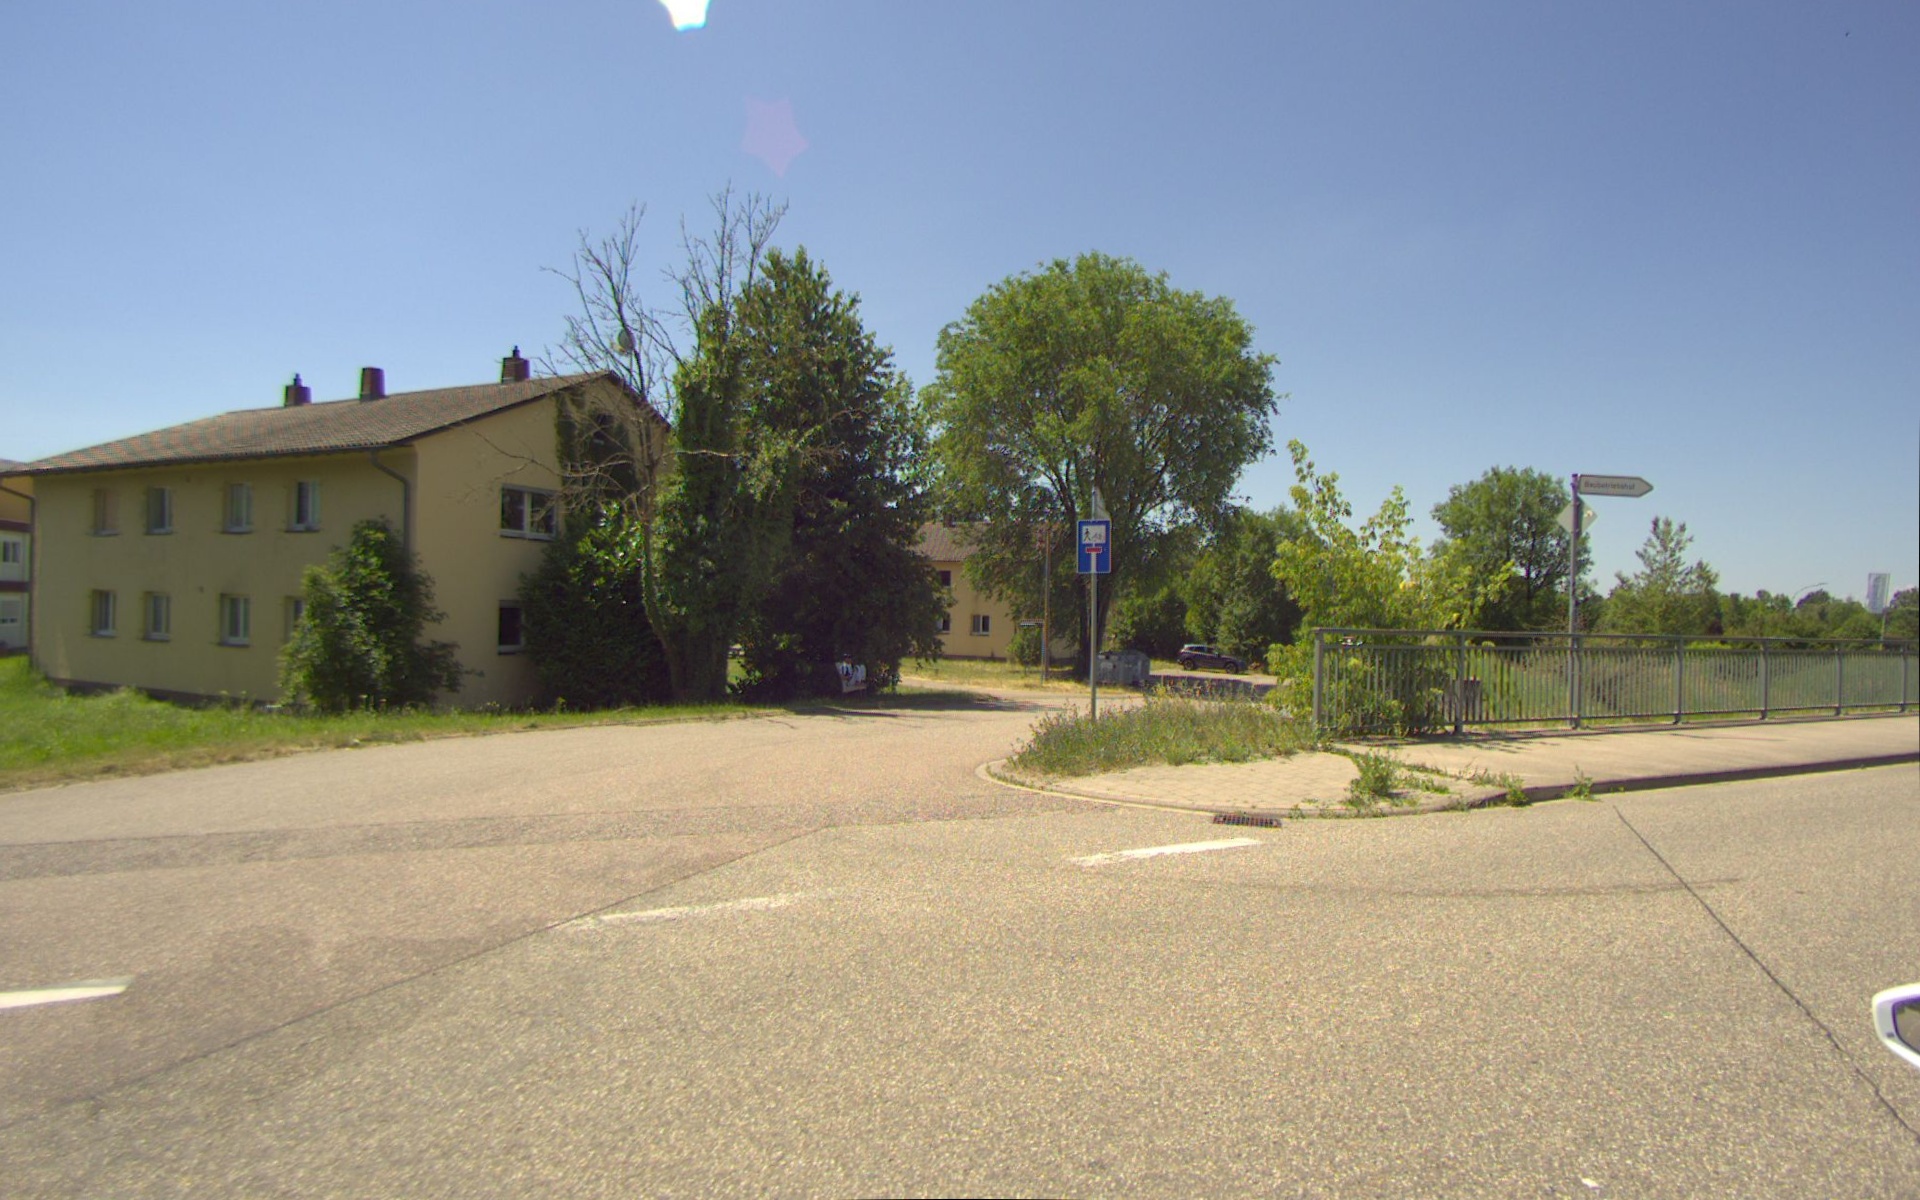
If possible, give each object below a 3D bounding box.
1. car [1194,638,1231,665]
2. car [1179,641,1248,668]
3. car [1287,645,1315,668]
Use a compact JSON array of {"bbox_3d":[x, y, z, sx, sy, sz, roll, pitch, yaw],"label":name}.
[{"bbox_3d":[17.558,3.577,69.757,1.840,1.774,3.998,0,-2,24],"label":"car"},{"bbox_3d":[16.125,3.441,63.864,3.926,1.592,1.997,0,-1,28],"label":"car"},{"bbox_3d":[26.421,4.347,77.803,1.961,1.617,4.000,1,-1,20],"label":"car"}]
